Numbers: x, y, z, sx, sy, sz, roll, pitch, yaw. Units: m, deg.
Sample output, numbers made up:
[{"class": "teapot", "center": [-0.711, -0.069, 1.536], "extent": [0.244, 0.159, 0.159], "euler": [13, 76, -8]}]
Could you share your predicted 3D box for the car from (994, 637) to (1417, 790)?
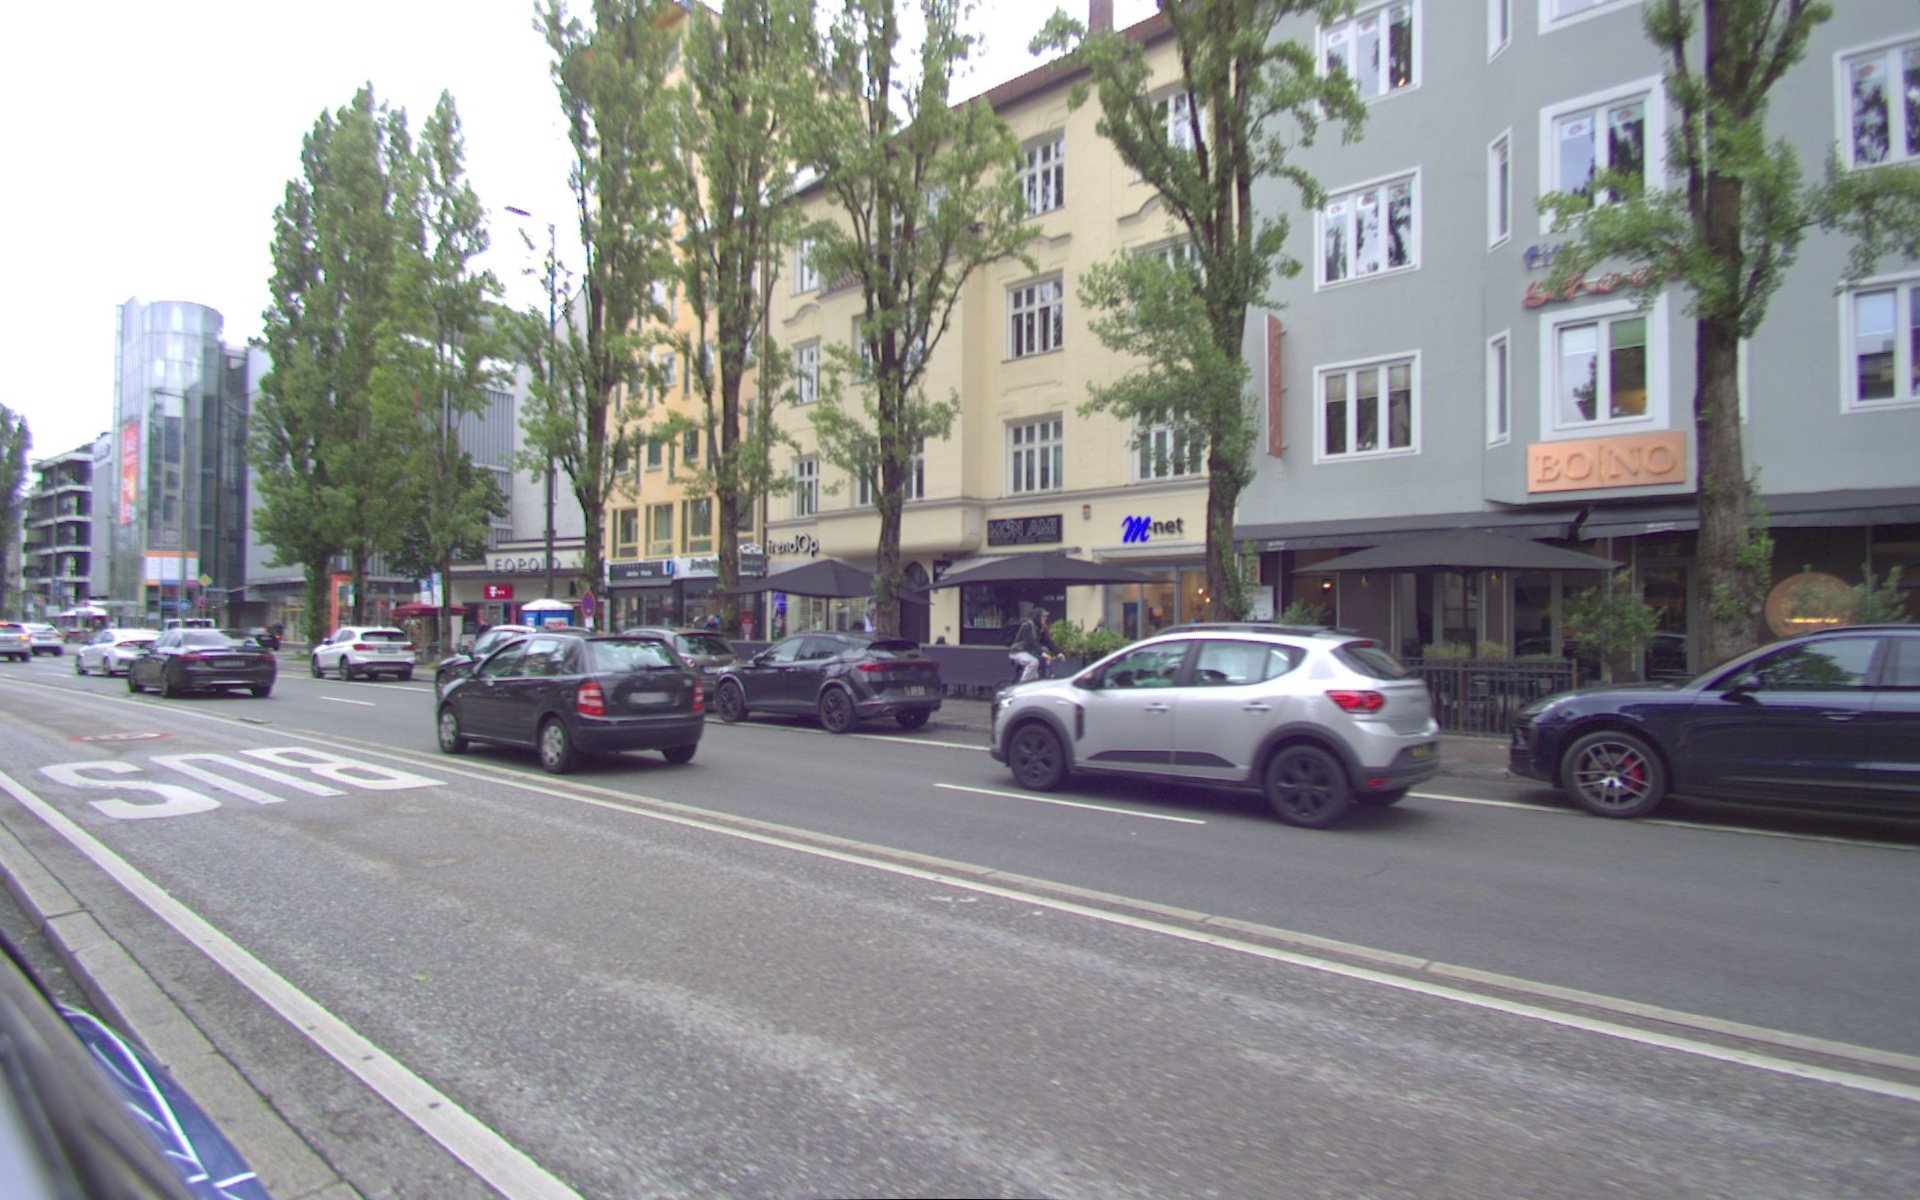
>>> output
[{"class": "car", "center": [2.720, 1.175, 11.943], "extent": [4.572, 1.451, 1.778], "euler": [-2, -3, 42]}]

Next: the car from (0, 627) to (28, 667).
[{"class": "car", "center": [-39.990, 1.910, 41.669], "extent": [4.360, 1.628, 1.839], "euler": [-1, -3, 41]}]

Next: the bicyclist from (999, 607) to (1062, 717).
[{"class": "bicyclist", "center": [1.126, 0.976, 16.226], "extent": [0.816, 1.718, 0.598], "euler": [-1, -2, 42]}]

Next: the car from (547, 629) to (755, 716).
[{"class": "car", "center": [-6.155, 1.350, 19.908], "extent": [4.572, 1.515, 1.778], "euler": [-2, -3, 42]}]

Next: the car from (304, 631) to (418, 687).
[{"class": "car", "center": [-18.174, 1.732, 30.639], "extent": [4.103, 1.590, 1.778], "euler": [-2, -3, 42]}]

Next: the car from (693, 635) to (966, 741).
[{"class": "car", "center": [-2.205, 1.300, 16.221], "extent": [4.572, 1.451, 1.778], "euler": [-2, -3, 42]}]

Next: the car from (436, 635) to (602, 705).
[{"class": "car", "center": [-10.340, 1.567, 23.575], "extent": [4.572, 1.451, 1.778], "euler": [-2, -3, 42]}]

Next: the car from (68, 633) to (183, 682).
[{"class": "car", "center": [-25.735, 1.731, 31.179], "extent": [4.075, 1.410, 1.760], "euler": [-1, -3, 37]}]

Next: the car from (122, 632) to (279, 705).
[{"class": "car", "center": [-16.364, 1.397, 21.741], "extent": [4.360, 1.410, 1.758], "euler": [-1, -3, 41]}]

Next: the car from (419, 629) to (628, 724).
[{"class": "car", "center": [-7.980, 1.298, 18.326], "extent": [4.360, 1.530, 1.728], "euler": [-1, -3, 41]}]

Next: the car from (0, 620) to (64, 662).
[{"class": "car", "center": [-46.405, 2.028, 50.368], "extent": [3.994, 2.029, 1.974], "euler": [-1, -2, 38]}]

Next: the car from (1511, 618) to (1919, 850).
[{"class": "car", "center": [7.114, 0.981, 7.989], "extent": [4.572, 1.625, 1.778], "euler": [-2, -3, 42]}]

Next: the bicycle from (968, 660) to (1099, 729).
[{"class": "bicycle", "center": [1.142, 1.483, 16.191], "extent": [2.173, 0.976, 0.605], "euler": [-2, -2, 42]}]

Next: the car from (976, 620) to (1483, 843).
[{"class": "car", "center": [2.244, 0.997, 9.087], "extent": [4.075, 1.553, 1.695], "euler": [-2, -4, 42]}]

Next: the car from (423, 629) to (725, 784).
[{"class": "car", "center": [-4.369, 1.058, 11.245], "extent": [3.593, 1.451, 1.595], "euler": [-1, -3, 41]}]
